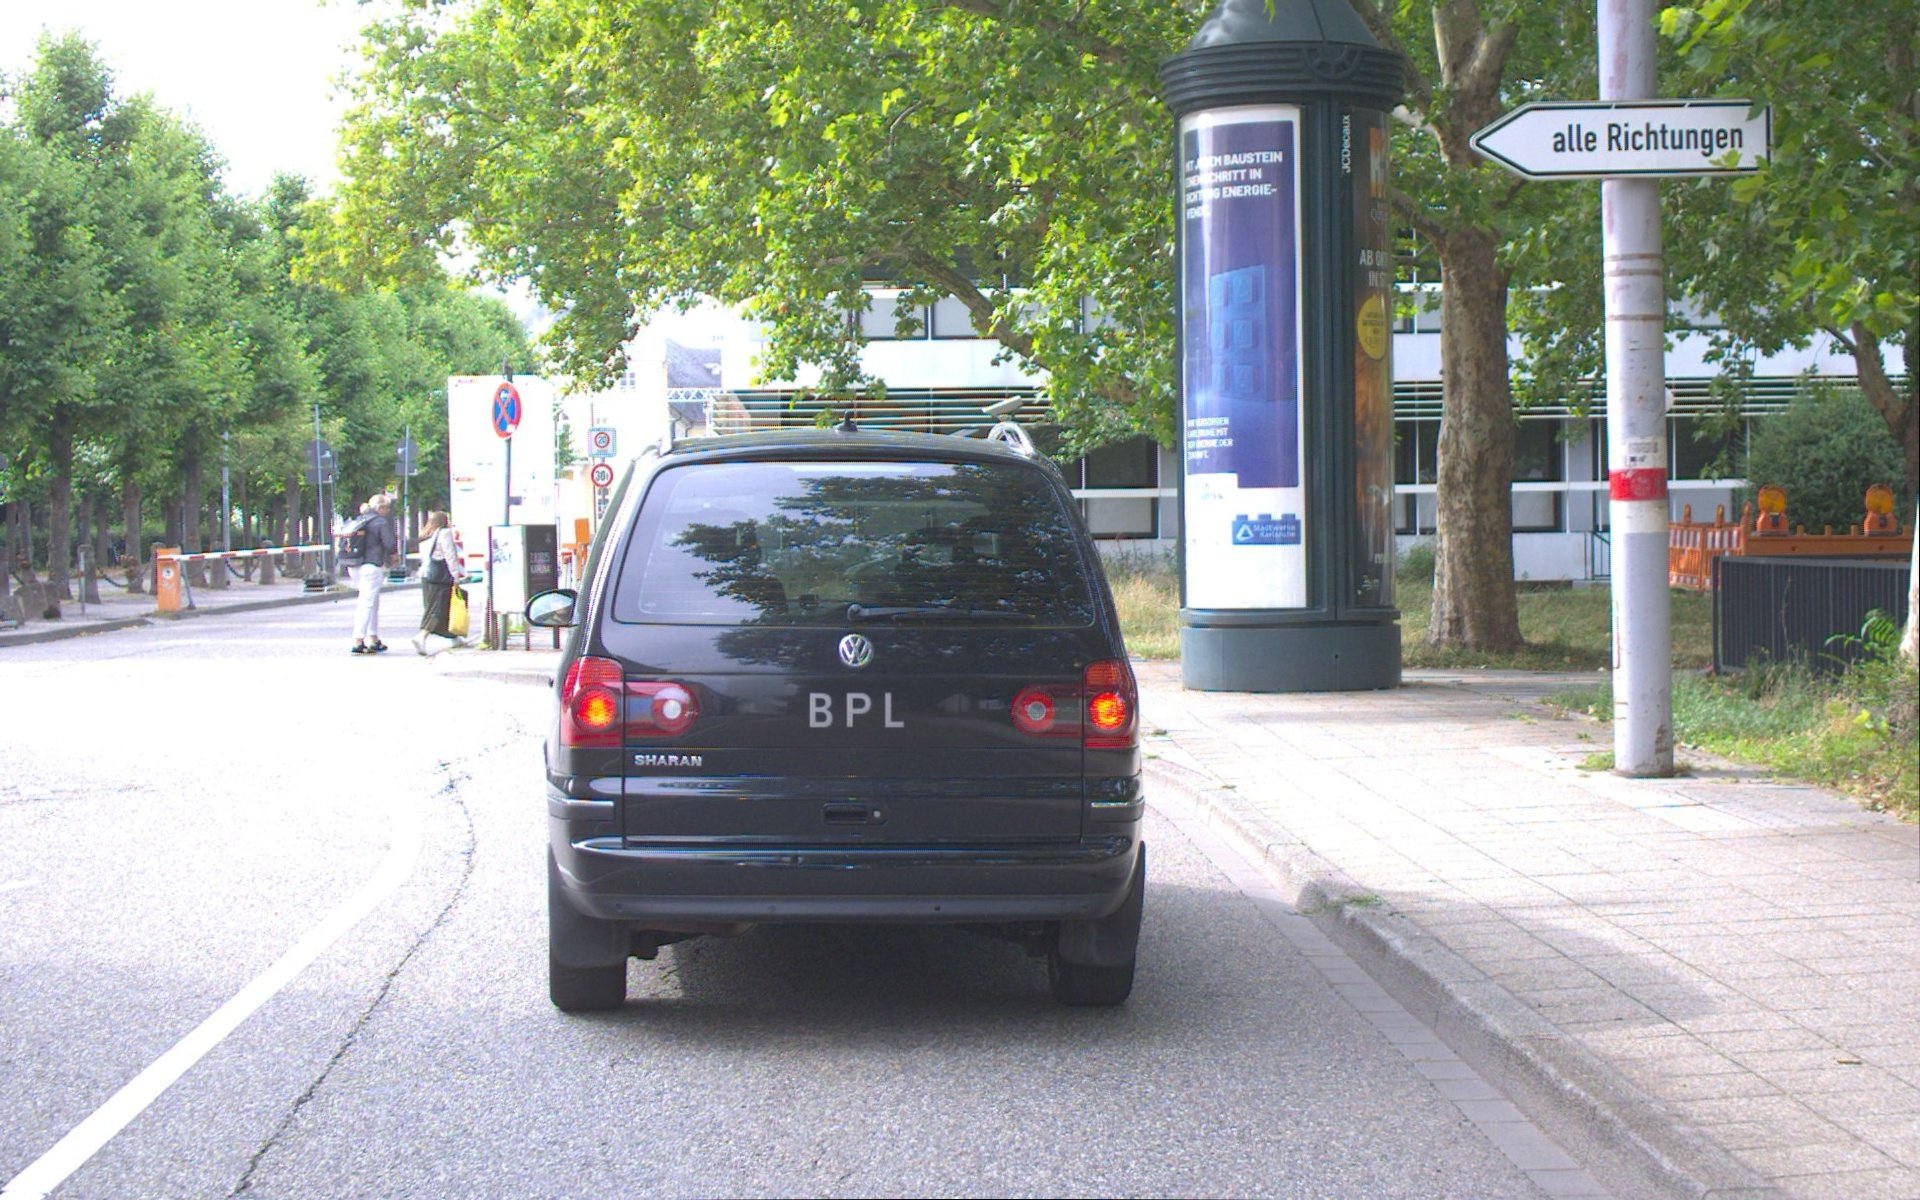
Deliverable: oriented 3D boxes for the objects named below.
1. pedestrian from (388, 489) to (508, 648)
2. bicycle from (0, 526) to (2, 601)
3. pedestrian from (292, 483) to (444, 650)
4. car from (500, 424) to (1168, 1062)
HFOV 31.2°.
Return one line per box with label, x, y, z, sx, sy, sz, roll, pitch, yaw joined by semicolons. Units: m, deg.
pedestrian;-5.385;-0.342;36.181;0.897;1.635;0.851;2;2;34
bicycle;-15.004;-0.584;51.769;0.952;1.106;2.580;0;2;-19
pedestrian;-6.292;-0.365;36.545;0.962;1.735;1.253;2;2;37
car;-0.510;0.324;11.412;1.793;1.702;4.132;-1;2;-5
